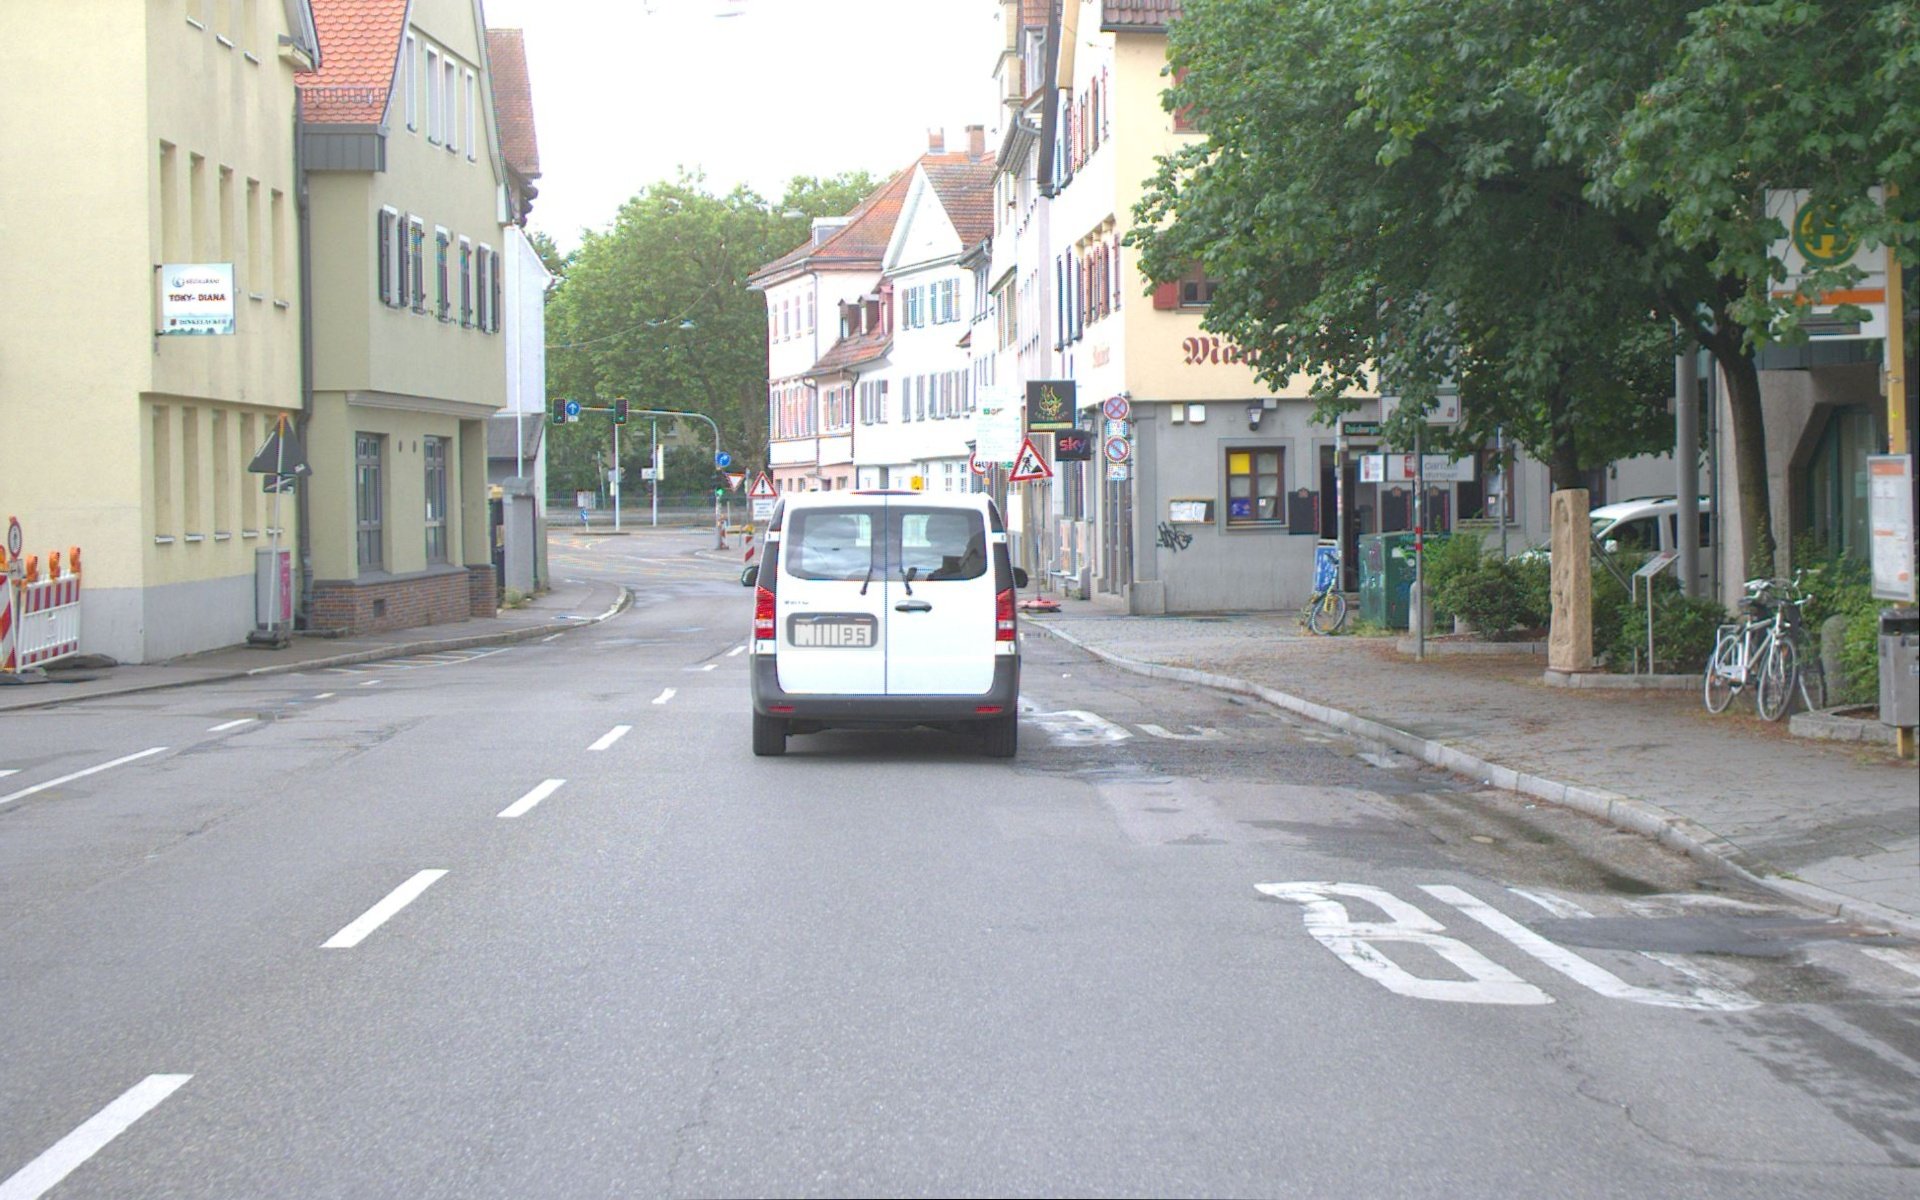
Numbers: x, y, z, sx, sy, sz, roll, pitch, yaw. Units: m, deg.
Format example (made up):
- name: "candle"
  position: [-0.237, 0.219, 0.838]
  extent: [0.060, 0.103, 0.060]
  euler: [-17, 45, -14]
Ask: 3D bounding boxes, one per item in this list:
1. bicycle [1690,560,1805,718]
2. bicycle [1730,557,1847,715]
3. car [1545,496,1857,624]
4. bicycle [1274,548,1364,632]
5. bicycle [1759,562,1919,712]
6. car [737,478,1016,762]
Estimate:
- name: "bicycle"
  position: [5.946, 0.272, 26.019]
  extent: [0.333, 1.137, 1.959]
  euler: [0, 1, -2]
- name: "bicycle"
  position: [6.280, 0.249, 26.133]
  extent: [0.333, 1.138, 1.959]
  euler: [0, 1, -2]
- name: "car"
  position: [11.234, -0.629, 52.259]
  extent: [4.240, 1.791, 1.849]
  euler: [-1, 3, -10]
- name: "bicycle"
  position: [4.860, -0.148, 46.648]
  extent: [0.499, 1.102, 1.639]
  euler: [-2, 1, -21]
- name: "bicycle"
  position: [6.827, 0.262, 26.538]
  extent: [0.544, 1.065, 2.292]
  euler: [-1, 1, -6]
- name: "car"
  position: [-0.571, 0.104, 25.242]
  extent: [1.872, 1.905, 4.000]
  euler: [-1, 1, 0]
